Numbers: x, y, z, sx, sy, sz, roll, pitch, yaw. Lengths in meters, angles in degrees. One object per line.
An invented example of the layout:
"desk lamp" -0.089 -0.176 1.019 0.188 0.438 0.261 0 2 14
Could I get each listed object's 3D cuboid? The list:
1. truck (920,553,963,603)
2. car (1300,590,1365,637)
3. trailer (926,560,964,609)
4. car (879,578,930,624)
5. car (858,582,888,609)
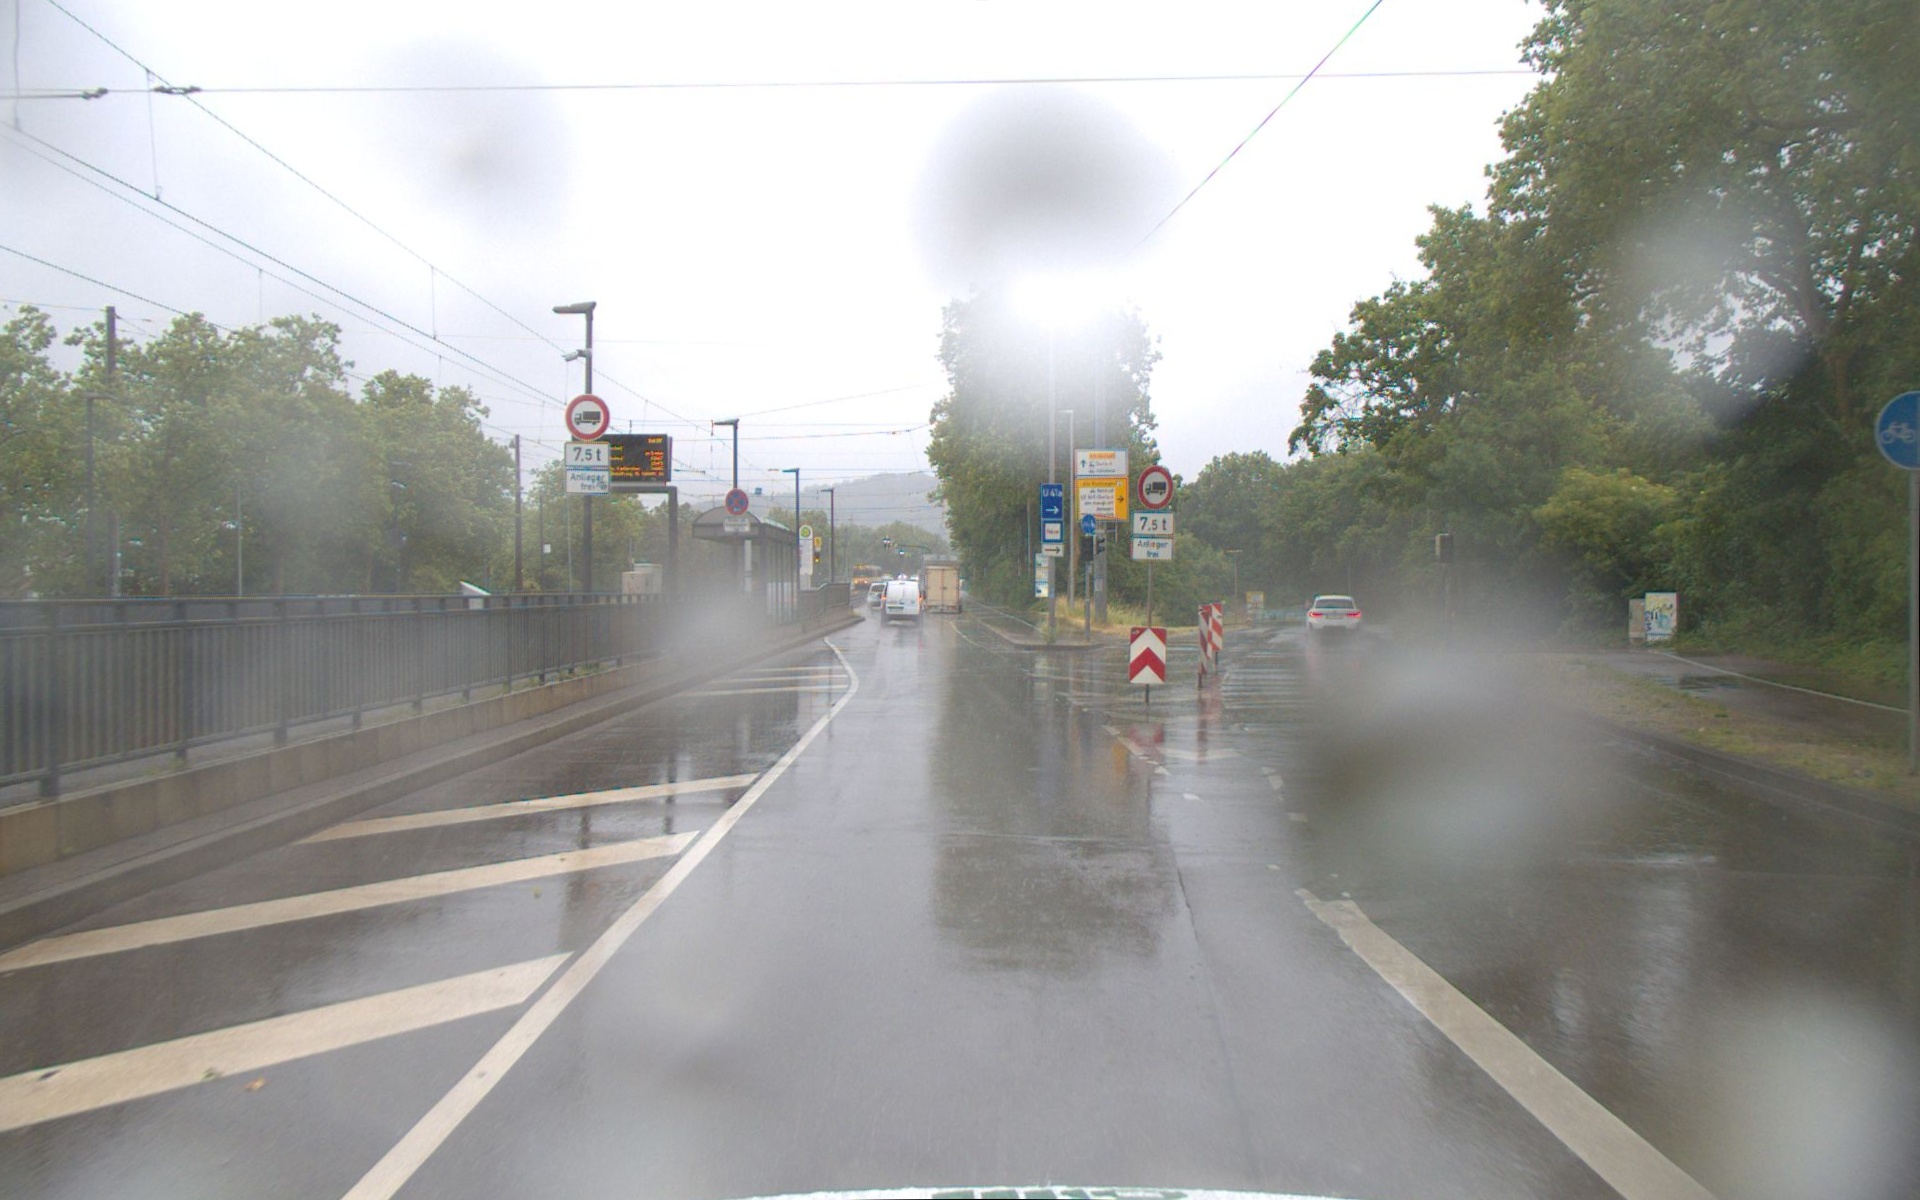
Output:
"truck" -1.496 -1.646 129.801 2.721 3.769 9.843 0 0 -4
"car" 12.149 0.408 54.076 1.848 1.456 4.004 0 0 9
"trailer" -0.860 -0.902 98.635 2.121 2.805 5.677 0 0 1
"car" -2.354 0.018 69.019 1.954 1.881 3.996 0 0 -5
"car" -5.462 -0.293 104.392 1.750 1.671 3.967 0 0 -1
